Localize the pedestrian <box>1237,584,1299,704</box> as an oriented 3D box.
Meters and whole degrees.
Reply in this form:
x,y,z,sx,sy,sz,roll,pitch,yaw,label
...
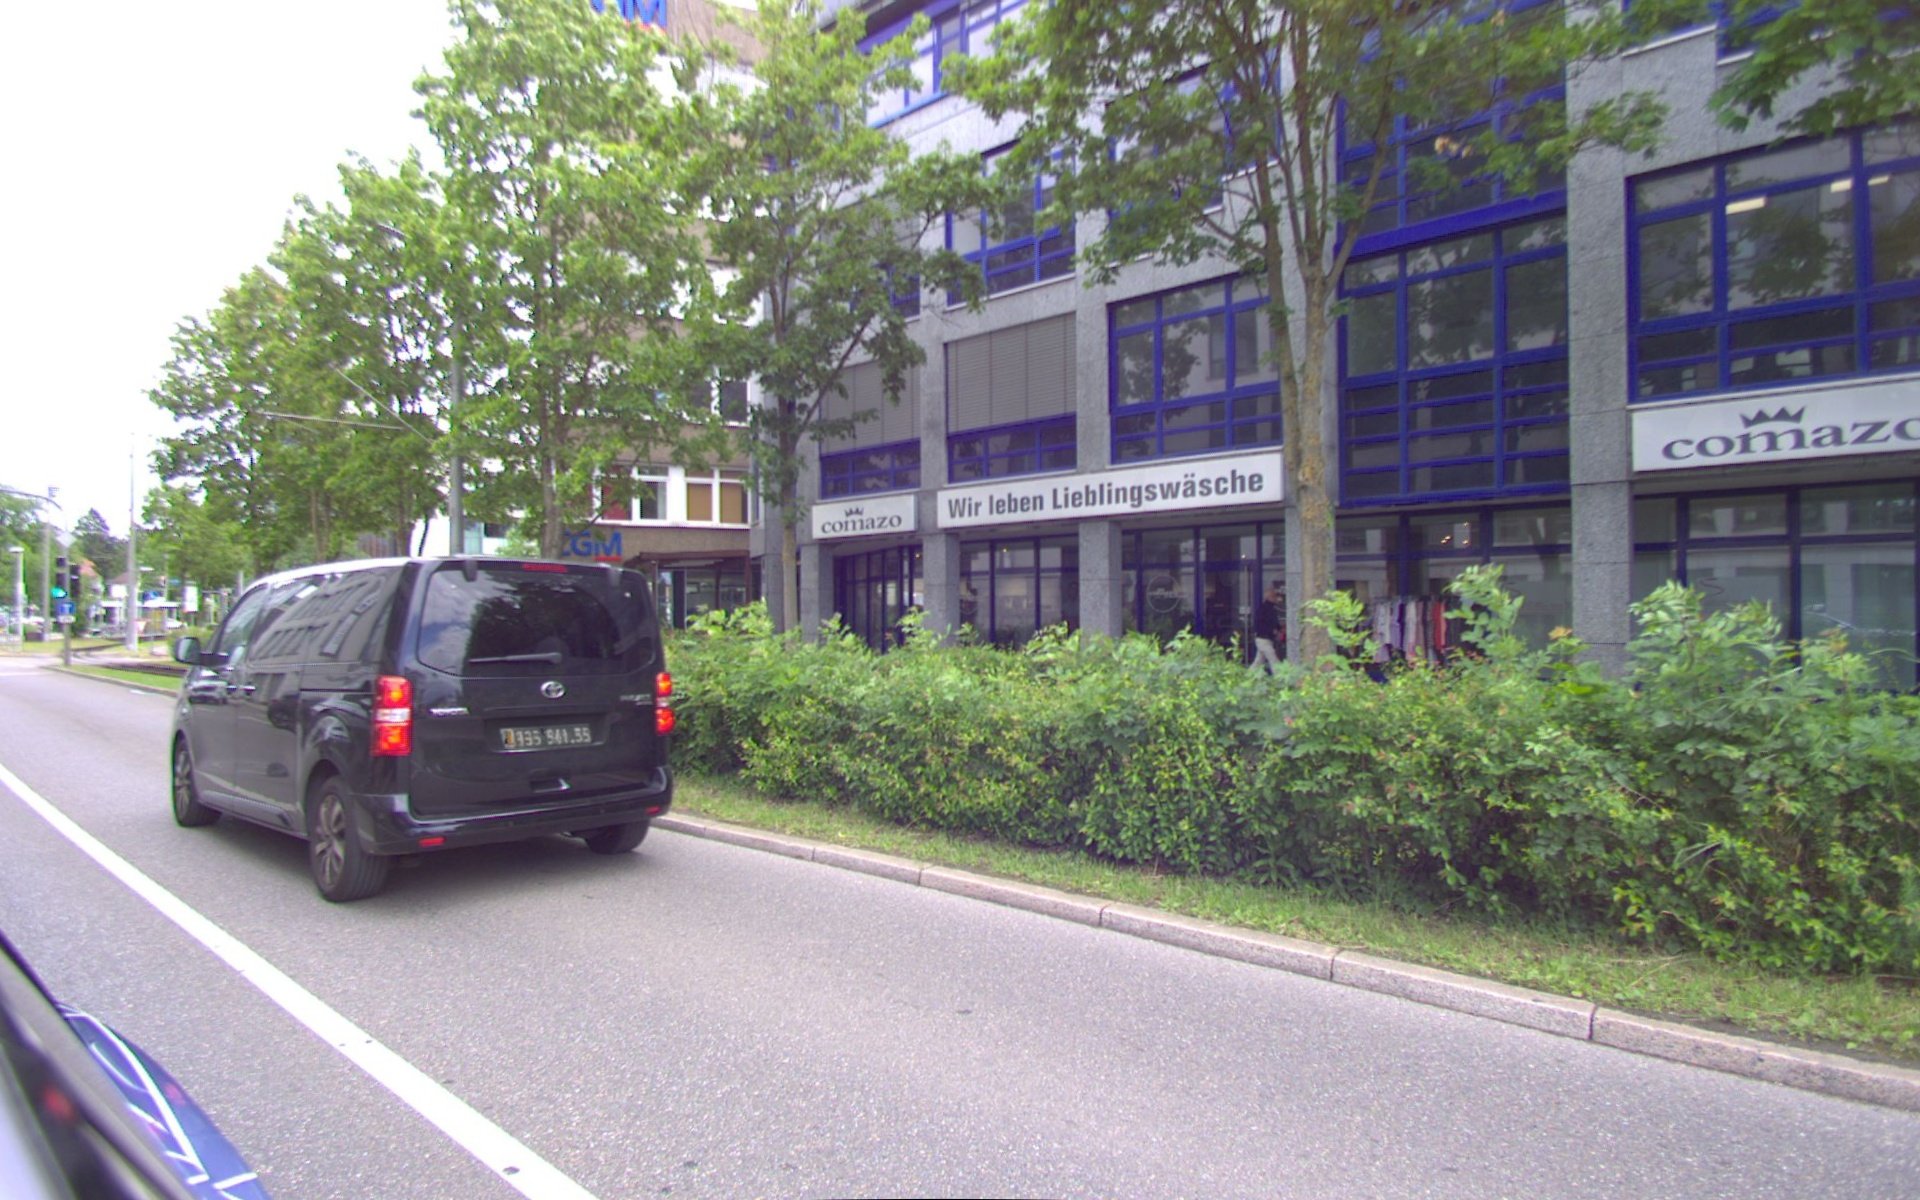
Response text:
x,y,z,sx,sy,sz,roll,pitch,yaw,label
5.058,0.700,16.601,0.731,1.908,0.766,-1,0,40,pedestrian

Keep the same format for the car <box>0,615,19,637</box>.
x,y,z,sx,sy,sz,roll,pitch,yaw,label
-90.017,2.421,94.560,1.965,2.029,4.013,0,0,-25,car

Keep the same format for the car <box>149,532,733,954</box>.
x,y,z,sx,sy,sz,roll,pitch,yaw,label
-3.832,0.707,7.036,4.734,1.962,1.973,-1,-2,41,car

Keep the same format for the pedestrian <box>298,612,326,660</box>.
x,y,z,sx,sy,sz,roll,pitch,yaw,label
-26.470,1.456,41.334,0.731,1.938,0.805,-1,0,40,pedestrian
